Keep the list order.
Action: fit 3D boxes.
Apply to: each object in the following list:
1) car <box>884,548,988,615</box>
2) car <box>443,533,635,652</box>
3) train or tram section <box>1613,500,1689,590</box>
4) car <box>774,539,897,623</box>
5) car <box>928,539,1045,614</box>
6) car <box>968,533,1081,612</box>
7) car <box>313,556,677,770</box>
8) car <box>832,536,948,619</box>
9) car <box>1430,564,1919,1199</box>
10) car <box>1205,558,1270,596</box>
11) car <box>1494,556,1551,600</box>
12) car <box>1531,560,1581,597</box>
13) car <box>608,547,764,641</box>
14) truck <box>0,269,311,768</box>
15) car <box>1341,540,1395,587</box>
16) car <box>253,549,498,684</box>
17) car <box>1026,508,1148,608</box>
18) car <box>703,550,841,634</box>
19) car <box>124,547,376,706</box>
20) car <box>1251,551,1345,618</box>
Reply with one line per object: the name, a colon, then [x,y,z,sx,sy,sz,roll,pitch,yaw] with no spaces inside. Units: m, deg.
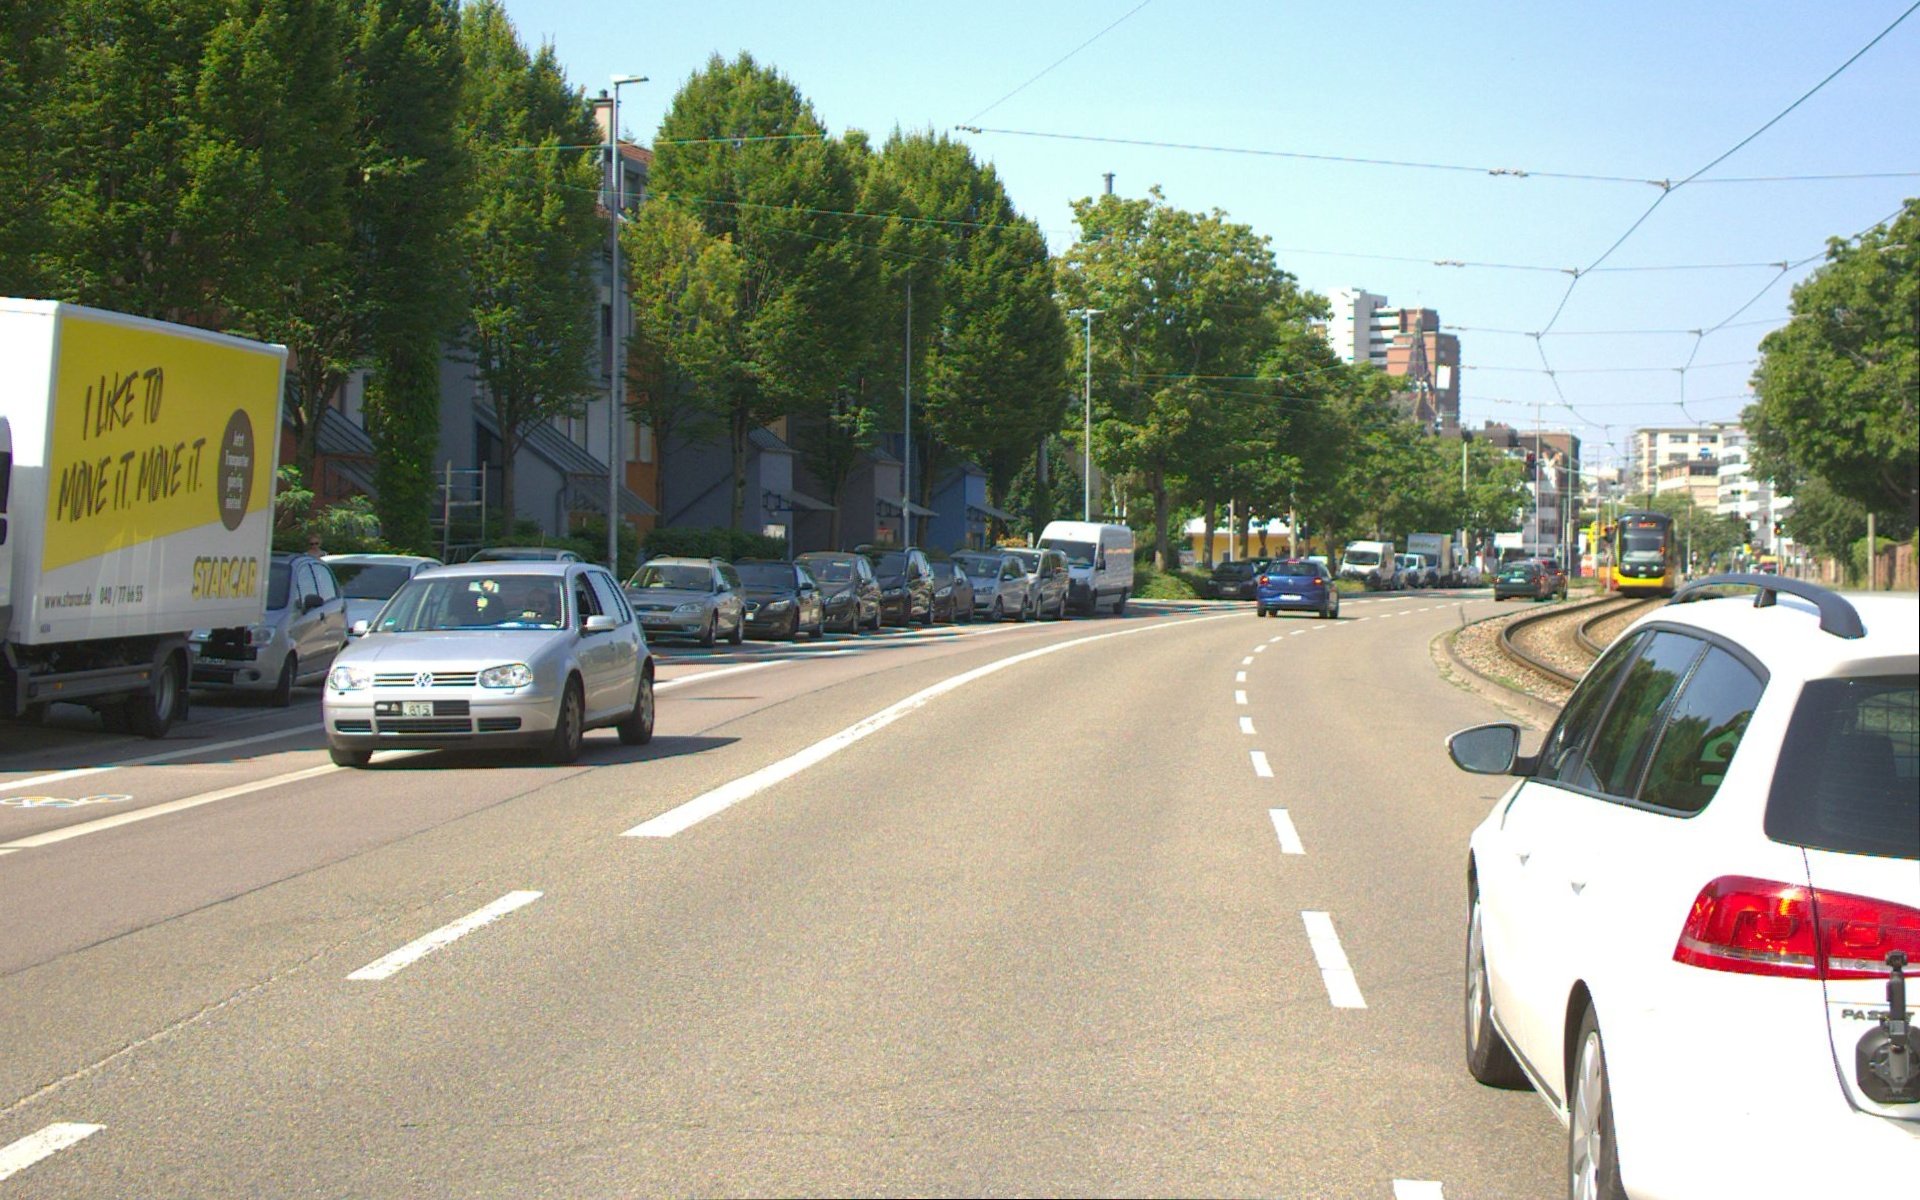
car: [-0.545,-0.456,82.062,1.691,1.469,4.047,4,1,10]
car: [-5.843,-0.138,48.161,1.731,1.546,4.318,2,1,5]
train or tram section: [30.273,-2.369,150.313,2.513,3.734,13.302,1,1,14]
car: [-2.549,-0.413,71.223,1.717,1.619,4.311,2,1,9]
car: [0.717,-0.600,87.069,1.802,1.718,4.906,4,1,13]
car: [1.782,-0.746,92.619,1.921,1.941,5.351,4,1,13]
car: [-3.334,0.404,25.473,1.659,1.415,4.309,-1,1,6]
car: [-1.522,-0.527,76.668,1.770,1.717,4.868,3,1,8]
car: [2.133,0.698,8.051,1.691,1.446,4.458,2,2,4]
car: [10.530,-0.874,130.314,1.701,1.412,3.997,1,1,16]
car: [20.593,-0.805,125.828,1.801,1.502,3.998,2,1,12]
car: [24.182,-0.901,139.403,1.801,1.455,3.998,1,1,12]
car: [-4.636,-0.118,58.922,1.781,1.478,4.856,2,1,6]
truck: [-7.807,-0.676,27.972,2.667,3.518,8.589,2,1,5]
car: [20.935,-1.870,176.268,1.881,2.407,5.112,1,1,16]
car: [-6.735,0.145,40.056,1.758,1.424,4.281,2,1,5]
car: [3.782,-1.218,100.769,1.996,2.705,7.152,4,1,14]
car: [-3.528,-0.173,65.324,1.723,1.469,4.714,2,1,7]
car: [-7.181,0.227,35.083,1.609,1.478,3.635,2,1,3]
car: [8.319,-0.405,84.338,1.801,1.502,3.998,2,2,12]
